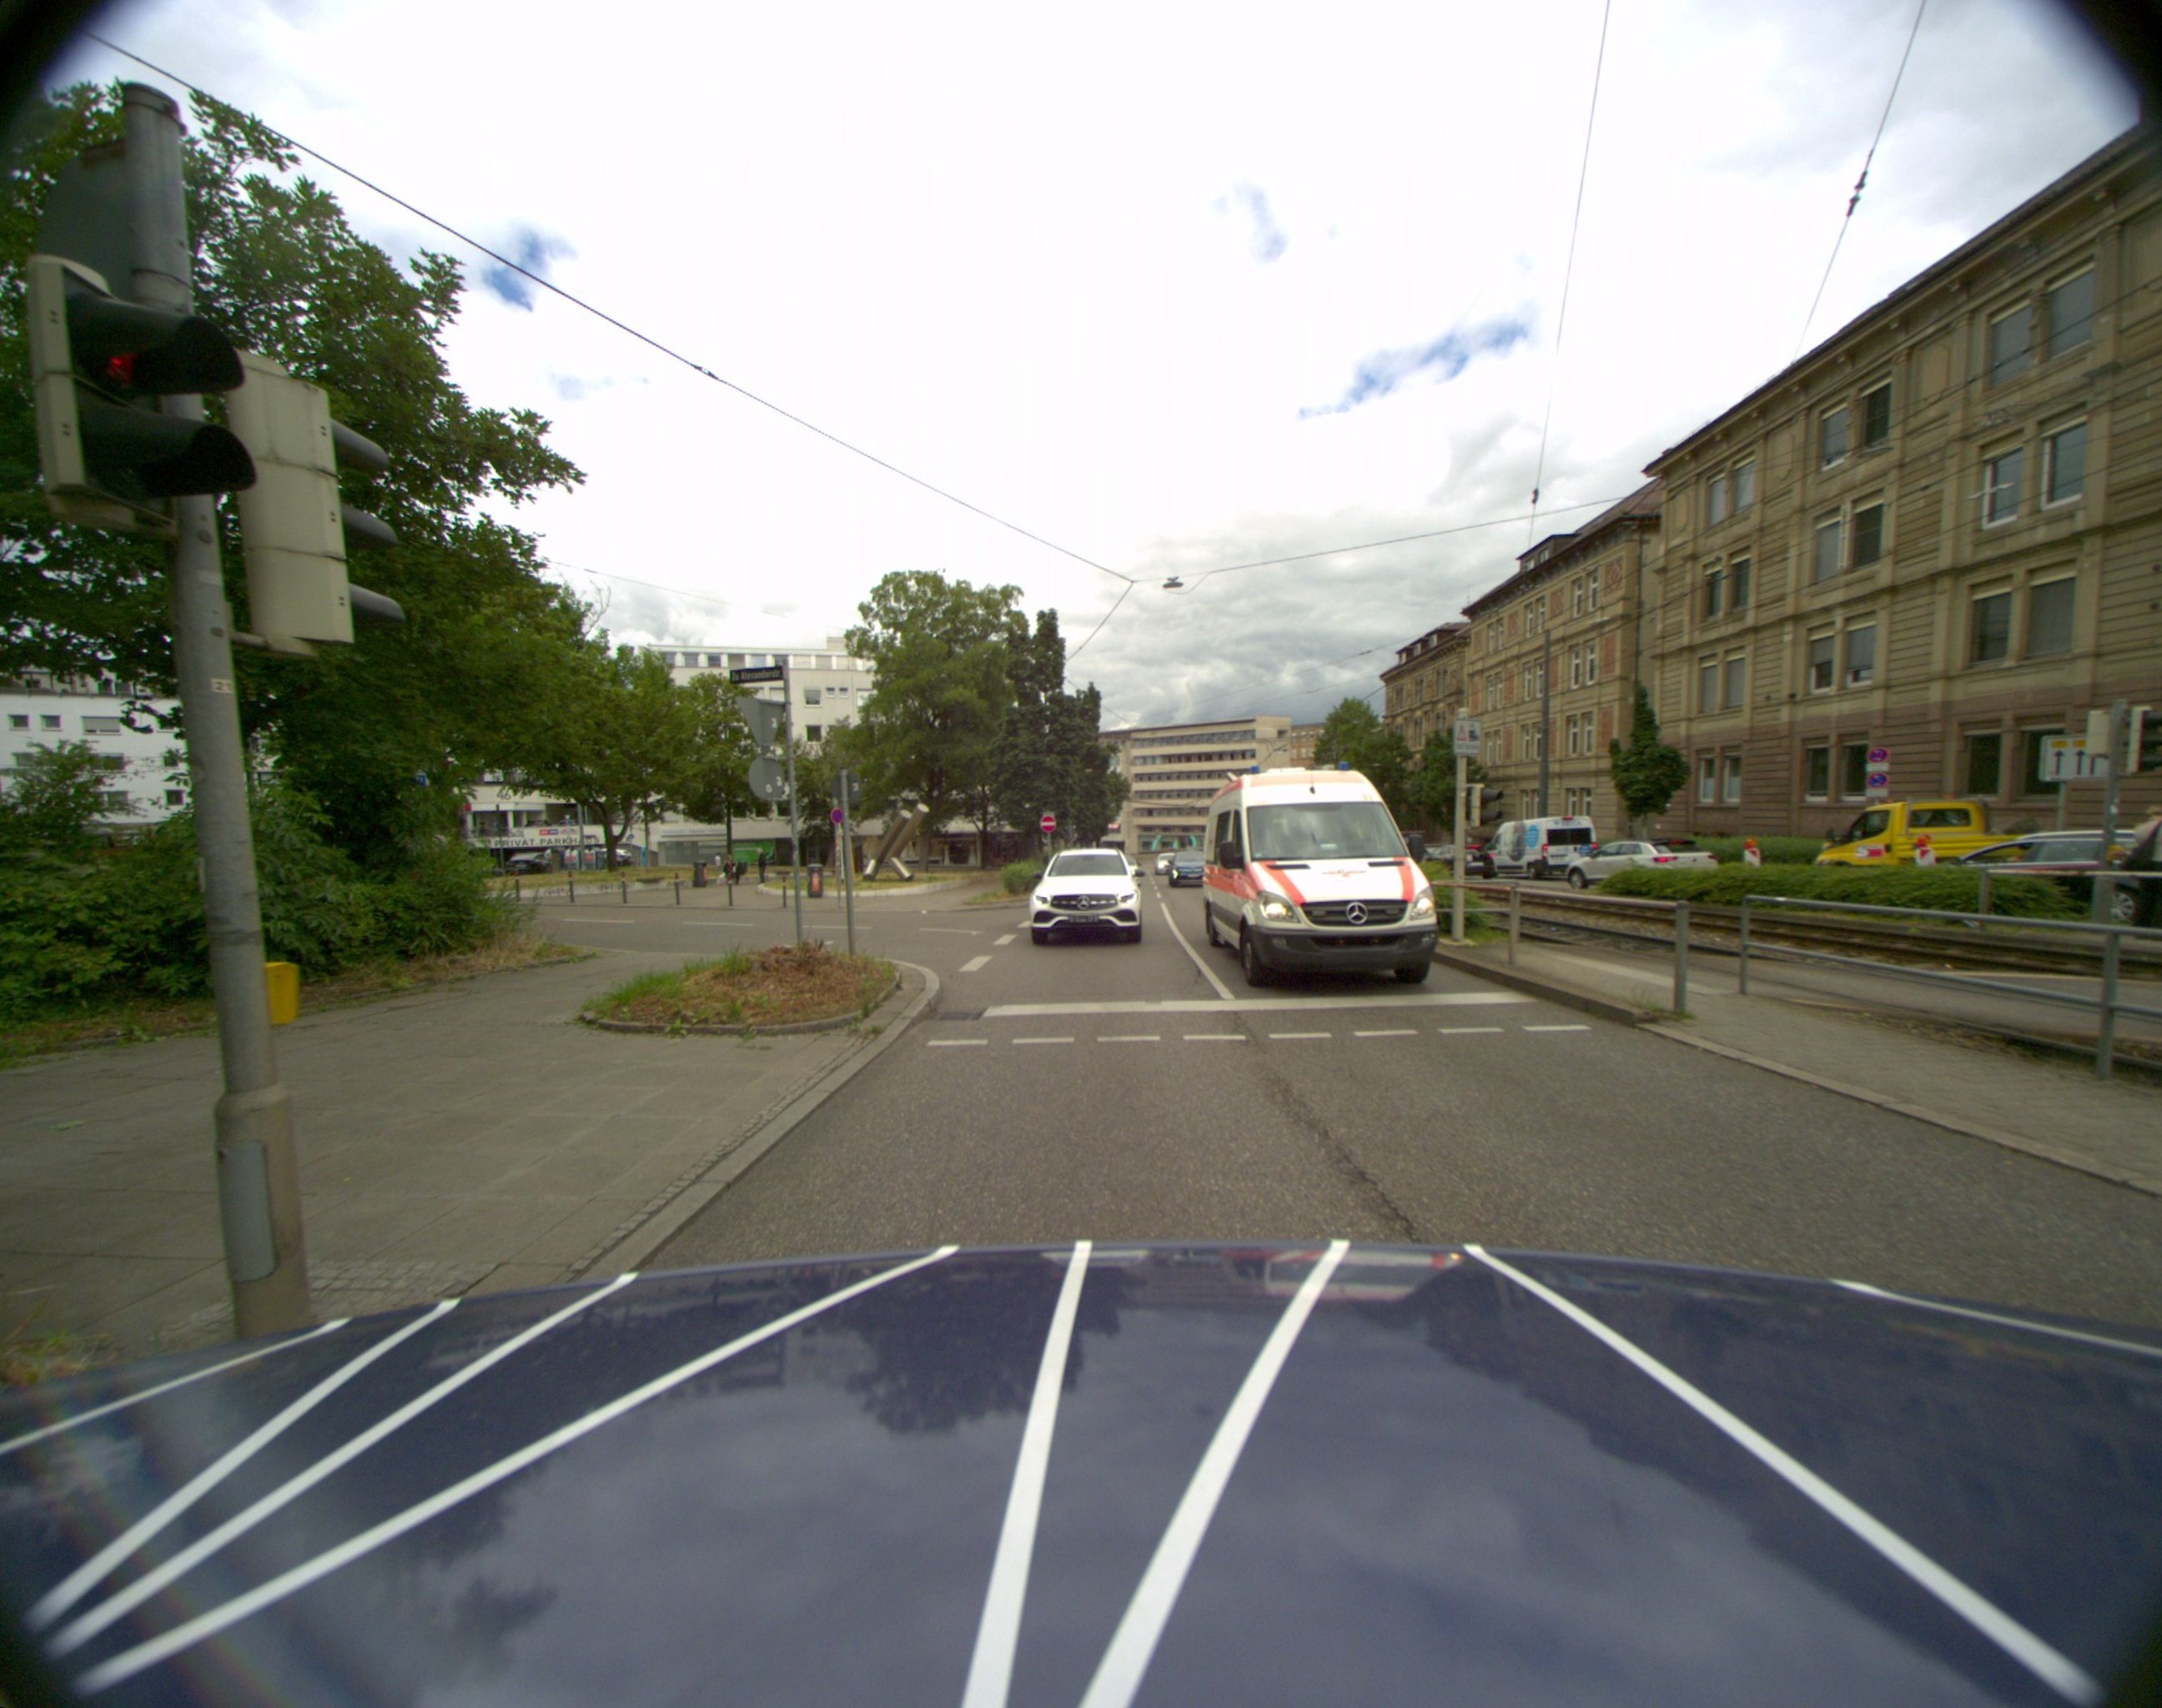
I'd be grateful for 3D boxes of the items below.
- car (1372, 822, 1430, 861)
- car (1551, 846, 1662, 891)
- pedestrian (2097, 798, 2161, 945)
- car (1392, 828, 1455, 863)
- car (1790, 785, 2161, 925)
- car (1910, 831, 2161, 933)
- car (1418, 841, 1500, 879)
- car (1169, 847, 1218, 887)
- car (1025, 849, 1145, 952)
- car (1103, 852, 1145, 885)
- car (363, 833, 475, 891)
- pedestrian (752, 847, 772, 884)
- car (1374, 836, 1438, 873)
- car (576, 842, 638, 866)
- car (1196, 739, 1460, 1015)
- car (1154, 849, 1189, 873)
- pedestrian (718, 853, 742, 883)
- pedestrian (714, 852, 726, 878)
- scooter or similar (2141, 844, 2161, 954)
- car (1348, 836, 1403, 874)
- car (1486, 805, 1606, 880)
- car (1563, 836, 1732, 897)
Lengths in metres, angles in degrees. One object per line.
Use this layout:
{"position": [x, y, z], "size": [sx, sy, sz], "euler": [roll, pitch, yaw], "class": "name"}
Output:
{"position": [19.808, -0.776, 47.199], "size": [2.241, 2.275, 4.001], "euler": [-1, 1, 6], "class": "car"}
{"position": [18.279, 0.465, 26.630], "size": [1.648, 1.445, 3.566], "euler": [-1, 0, 6], "class": "car"}
{"position": [13.570, 0.219, 9.520], "size": [0.742, 1.807, 0.792], "euler": [0, 1, -18], "class": "pedestrian"}
{"position": [19.535, -0.472, 43.541], "size": [2.319, 1.928, 3.437], "euler": [-1, 1, 6], "class": "car"}
{"position": [19.848, -0.051, 16.590], "size": [2.446, 2.422, 6.753], "euler": [-2, 1, 0], "class": "car"}
{"position": [16.425, 0.375, 12.287], "size": [1.783, 1.453, 4.000], "euler": [-1, 1, 3], "class": "car"}
{"position": [16.160, 0.231, 32.690], "size": [1.870, 1.510, 3.951], "euler": [-1, 1, 5], "class": "car"}
{"position": [4.944, 0.521, 33.837], "size": [1.930, 1.563, 4.182], "euler": [-3, 0, 6], "class": "car"}
{"position": [0.185, 0.740, 14.425], "size": [1.894, 1.610, 4.479], "euler": [-1, 0, 3], "class": "car"}
{"position": [2.103, 0.641, 36.126], "size": [1.821, 1.441, 3.854], "euler": [-1, 0, 5], "class": "car"}
{"position": [-27.001, 0.292, 31.218], "size": [2.130, 2.200, 4.883], "euler": [-1, 1, -24], "class": "car"}
{"position": [-14.104, 0.509, 33.627], "size": [0.727, 1.593, 0.791], "euler": [-1, 1, -19], "class": "pedestrian"}
{"position": [16.139, 0.003, 37.945], "size": [1.840, 1.740, 4.001], "euler": [-1, 1, 6], "class": "car"}
{"position": [-39.571, -0.008, 63.504], "size": [3.999, 1.677, 1.688], "euler": [-3, 1, -8], "class": "car"}
{"position": [2.880, 0.225, 10.430], "size": [2.038, 2.684, 5.855], "euler": [-1, 0, 4], "class": "car"}
{"position": [6.225, 0.455, 52.744], "size": [1.998, 1.543, 4.317], "euler": [-1, 0, 2], "class": "car"}
{"position": [-15.188, 0.608, 32.881], "size": [0.655, 1.284, 0.686], "euler": [0, 1, 13], "class": "pedestrian"}
{"position": [-21.543, 0.636, 45.337], "size": [0.529, 1.524, 0.672], "euler": [-2, 1, -36], "class": "pedestrian"}
{"position": [13.471, 0.521, 9.170], "size": [1.500, 1.288, 0.532], "euler": [-1, 1, -26], "class": "scooter or similar"}
{"position": [16.938, 0.043, 43.869], "size": [1.997, 2.033, 4.001], "euler": [-1, 1, 6], "class": "car"}
{"position": [18.977, -0.457, 31.315], "size": [2.214, 2.806, 4.785], "euler": [-1, 1, 3], "class": "car"}
{"position": [15.945, 0.313, 21.688], "size": [1.708, 1.558, 3.998], "euler": [-1, 1, -3], "class": "car"}
